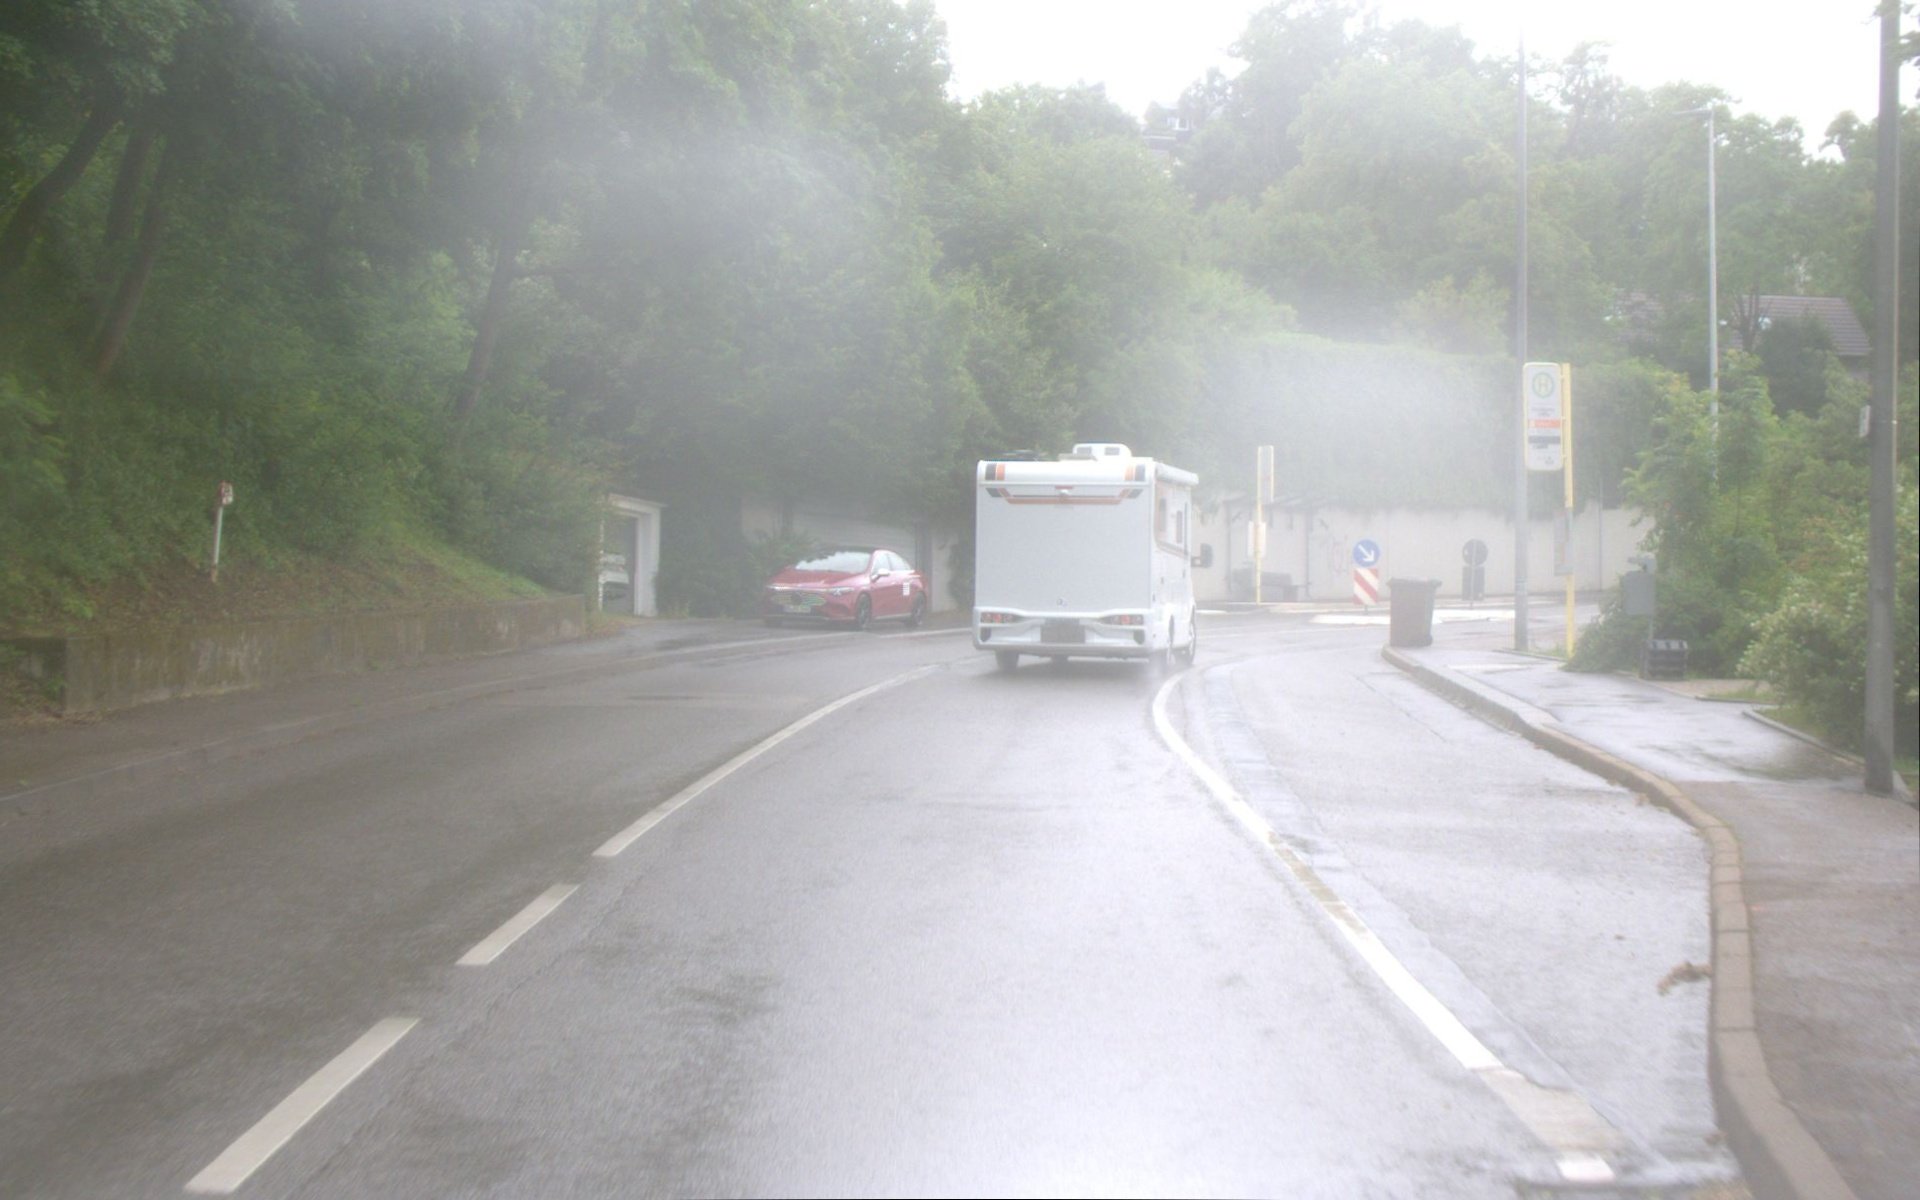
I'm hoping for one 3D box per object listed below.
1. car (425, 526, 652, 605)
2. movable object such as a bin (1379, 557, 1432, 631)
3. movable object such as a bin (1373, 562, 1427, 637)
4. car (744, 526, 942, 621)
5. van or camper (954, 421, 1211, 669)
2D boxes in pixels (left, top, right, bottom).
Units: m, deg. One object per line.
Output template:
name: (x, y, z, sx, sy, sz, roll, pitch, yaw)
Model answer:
car: (-8.270, -0.696, 67.526, 3.990, 1.498, 1.877, 1, 1, 18)
movable object such as a bin: (6.996, -0.094, 53.973, 0.778, 1.129, 0.738, 1, 1, 9)
movable object such as a bin: (6.755, -0.011, 52.754, 0.778, 1.129, 0.738, 1, 1, 9)
car: (-2.029, -0.509, 61.316, 1.995, 1.556, 4.648, 2, 2, 19)
van or camper: (1.708, -0.703, 44.970, 2.541, 2.915, 5.946, -3, 0, 9)
